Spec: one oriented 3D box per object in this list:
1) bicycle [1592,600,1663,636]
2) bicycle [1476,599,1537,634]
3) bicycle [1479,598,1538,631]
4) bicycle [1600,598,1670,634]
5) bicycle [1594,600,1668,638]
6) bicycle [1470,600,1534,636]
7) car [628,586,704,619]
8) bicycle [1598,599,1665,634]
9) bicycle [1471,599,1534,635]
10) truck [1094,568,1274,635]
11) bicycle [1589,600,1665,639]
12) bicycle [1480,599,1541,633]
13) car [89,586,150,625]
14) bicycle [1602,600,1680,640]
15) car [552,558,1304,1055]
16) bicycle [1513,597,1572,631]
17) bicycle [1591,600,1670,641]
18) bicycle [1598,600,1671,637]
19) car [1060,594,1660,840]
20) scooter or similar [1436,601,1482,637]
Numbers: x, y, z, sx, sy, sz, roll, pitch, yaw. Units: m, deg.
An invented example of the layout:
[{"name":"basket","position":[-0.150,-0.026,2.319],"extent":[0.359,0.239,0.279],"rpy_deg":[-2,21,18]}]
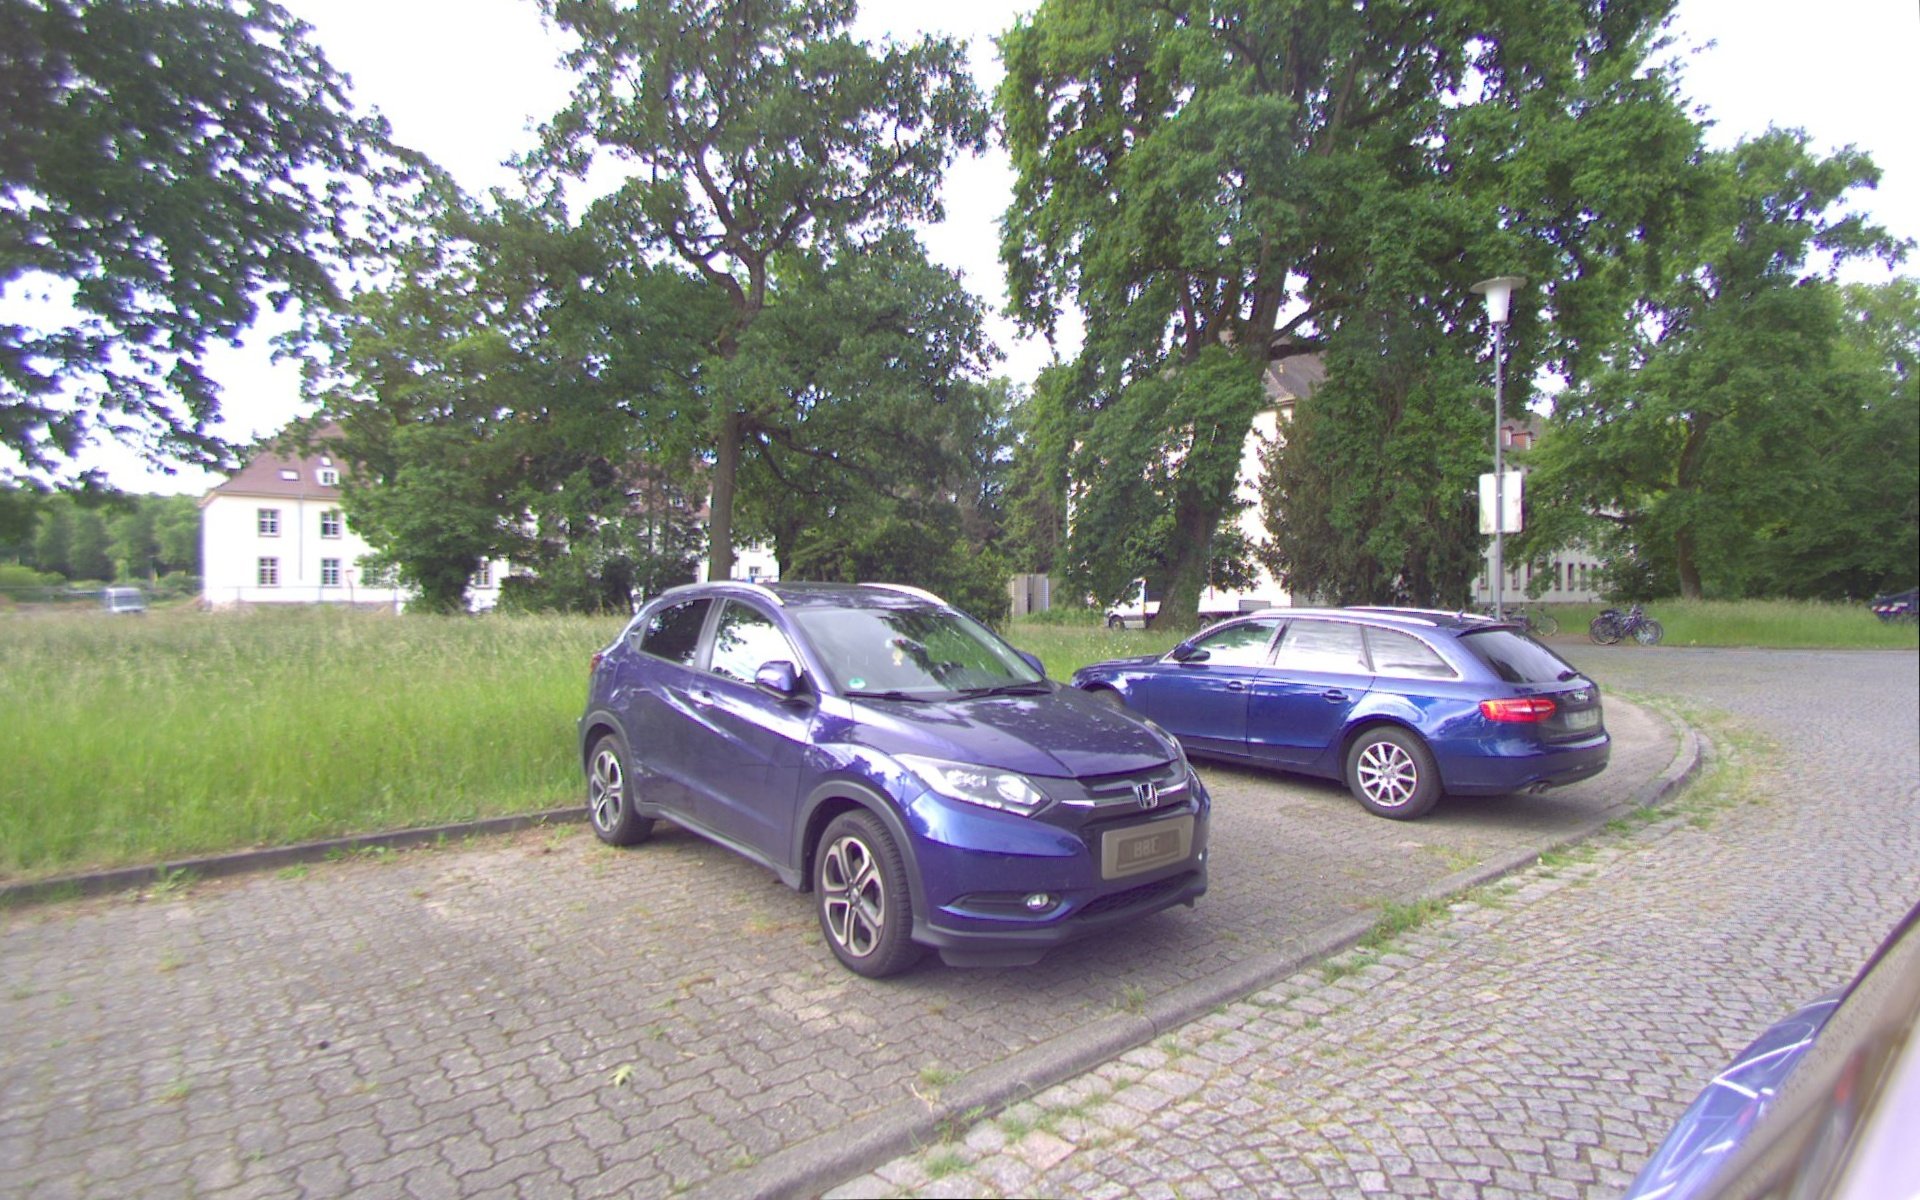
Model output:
[{"name":"bicycle","position":[22.665,0.609,34.403],"extent":[1.921,1.185,0.483],"rpy_deg":[-2,-1,28]},{"name":"bicycle","position":[19.058,0.579,35.323],"extent":[1.842,1.185,0.483],"rpy_deg":[-1,-1,29]},{"name":"bicycle","position":[20.184,0.530,37.281],"extent":[1.837,1.185,0.485],"rpy_deg":[-1,-1,21]},{"name":"bicycle","position":[23.162,0.555,34.748],"extent":[1.921,1.185,0.483],"rpy_deg":[-2,-1,28]},{"name":"bicycle","position":[21.806,0.617,32.930],"extent":[1.919,1.185,0.484],"rpy_deg":[-2,-1,25]},{"name":"bicycle","position":[18.323,0.613,34.245],"extent":[1.839,1.185,0.484],"rpy_deg":[-1,-1,24]},{"name":"car","position":[-20.912,0.152,72.068],"extent":[4.853,2.333,1.921],"rpy_deg":[0,0,-41]},{"name":"bicycle","position":[23.796,0.595,35.885],"extent":[1.926,1.185,0.531],"rpy_deg":[-2,-1,34]},{"name":"bicycle","position":[18.613,0.585,34.766],"extent":[1.839,1.185,0.484],"rpy_deg":[-1,-1,24]},{"name":"truck","position":[8.488,0.039,39.197],"extent":[1.958,2.396,7.078],"rpy_deg":[1,0,-40]},{"name":"bicycle","position":[21.391,0.623,32.486],"extent":[1.919,1.185,0.484],"rpy_deg":[-2,-1,25]},{"name":"bicycle","position":[19.533,0.573,35.930],"extent":[1.837,1.185,0.485],"rpy_deg":[-1,-1,21]},{"name":"car","position":[-60.556,0.436,72.900],"extent":[5.649,2.675,2.247],"rpy_deg":[-2,-1,38]},{"name":"bicycle","position":[21.116,0.620,31.410],"extent":[1.917,1.185,0.484],"rpy_deg":[-2,-1,23]},{"name":"car","position":[-0.536,0.643,5.566],"extent":[1.854,1.643,4.251],"rpy_deg":[0,1,-42]},{"name":"bicycle","position":[21.521,0.500,37.414],"extent":[1.851,1.185,0.481],"rpy_deg":[2,1,41]},{"name":"bicycle","position":[20.543,0.632,31.058],"extent":[1.917,1.185,0.484],"rpy_deg":[-2,-1,23]},{"name":"bicycle","position":[22.320,0.610,33.508],"extent":[1.921,1.185,0.483],"rpy_deg":[-2,-1,28]},{"name":"car","position":[3.044,0.709,8.544],"extent":[1.891,1.457,4.368],"rpy_deg":[0,1,-38]},{"name":"scooter or similar","position":[17.044,0.646,34.575],"extent":[0.406,1.185,1.306],"rpy_deg":[0,-1,-41]}]
